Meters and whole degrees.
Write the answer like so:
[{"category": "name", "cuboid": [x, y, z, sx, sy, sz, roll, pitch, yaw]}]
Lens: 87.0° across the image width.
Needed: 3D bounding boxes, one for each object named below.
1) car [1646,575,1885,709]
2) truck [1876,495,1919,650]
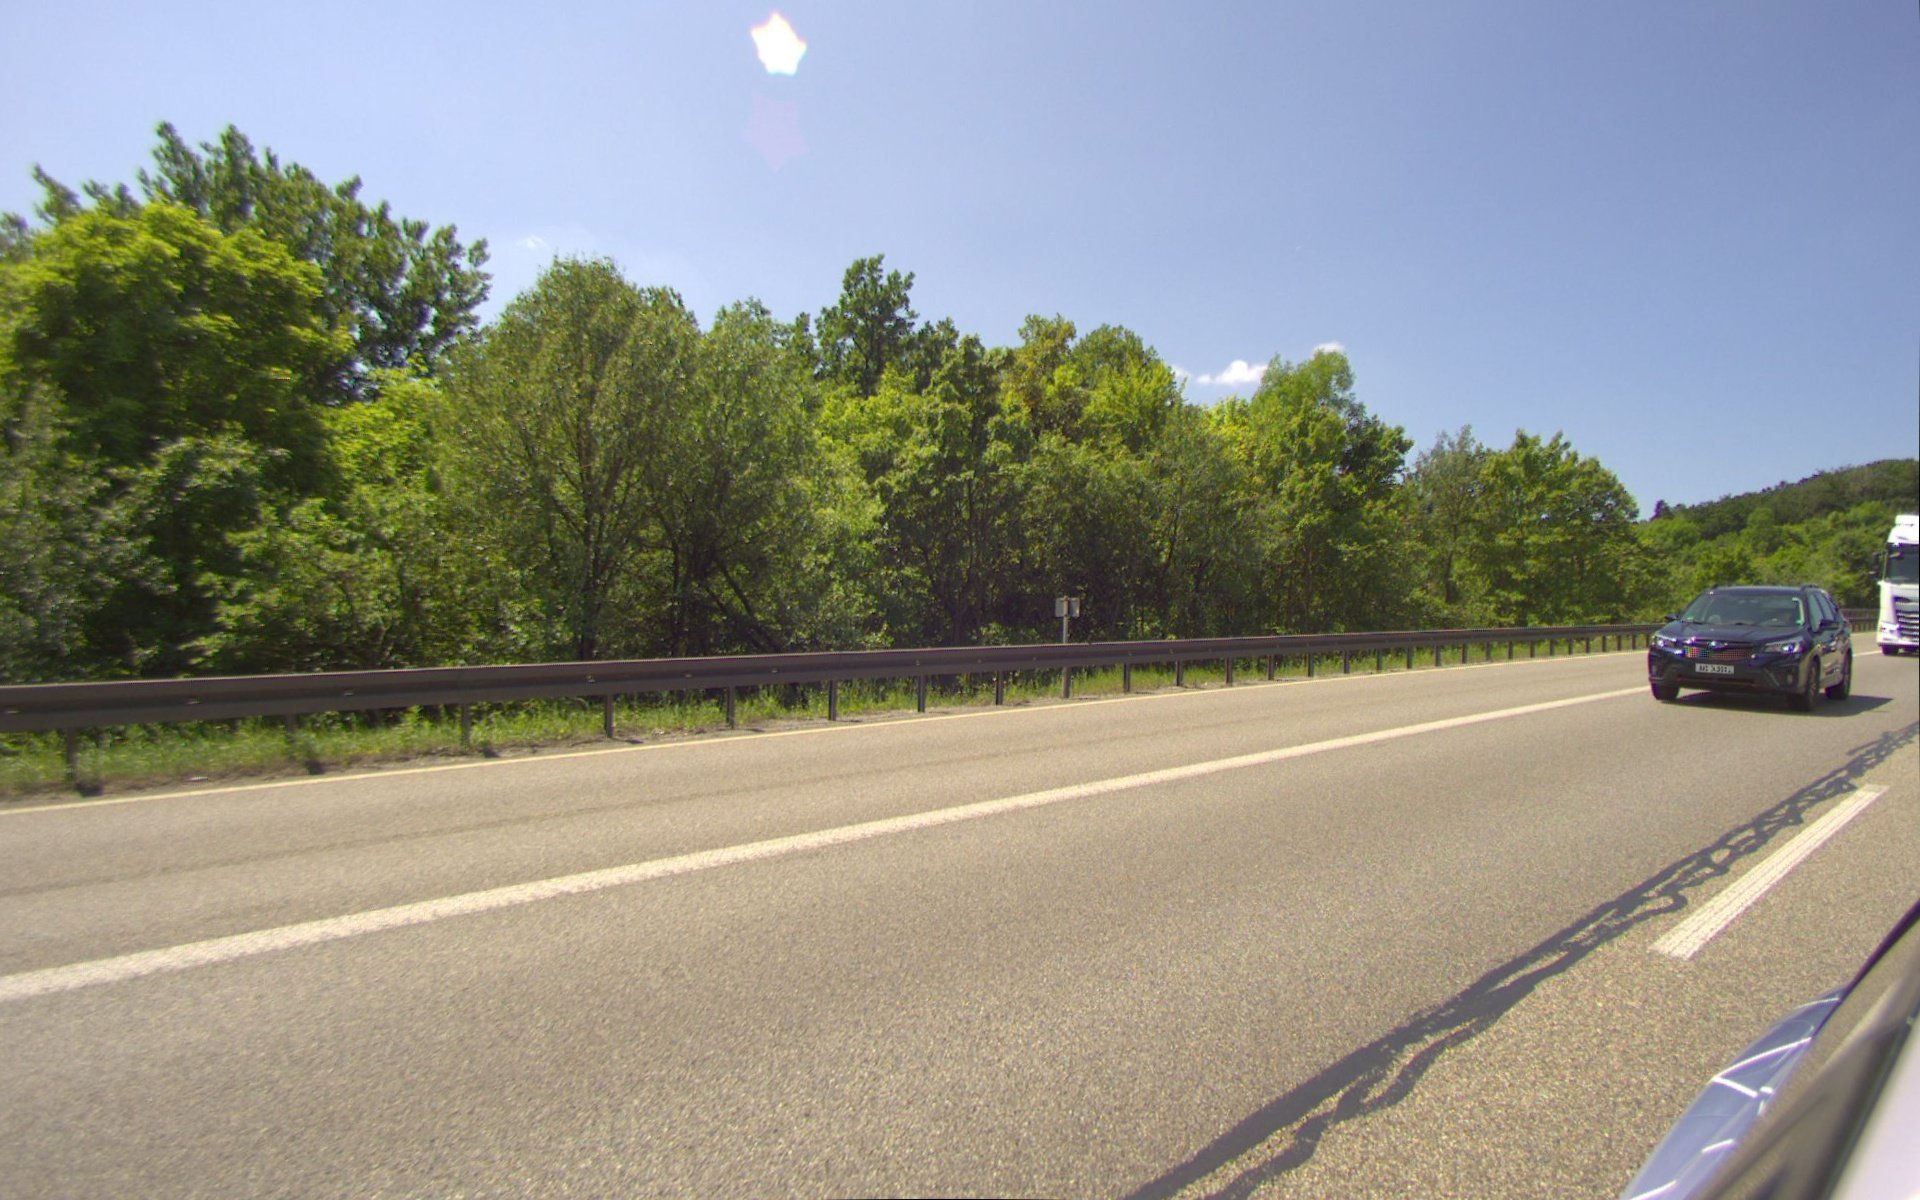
[{"category": "car", "cuboid": [11.784, 0.498, 14.727, 4.127, 1.688, 1.816, 0, 1, -38]}, {"category": "truck", "cuboid": [32.748, -0.726, 32.243, 15.972, 4.221, 2.789, 0, 0, -39]}]
